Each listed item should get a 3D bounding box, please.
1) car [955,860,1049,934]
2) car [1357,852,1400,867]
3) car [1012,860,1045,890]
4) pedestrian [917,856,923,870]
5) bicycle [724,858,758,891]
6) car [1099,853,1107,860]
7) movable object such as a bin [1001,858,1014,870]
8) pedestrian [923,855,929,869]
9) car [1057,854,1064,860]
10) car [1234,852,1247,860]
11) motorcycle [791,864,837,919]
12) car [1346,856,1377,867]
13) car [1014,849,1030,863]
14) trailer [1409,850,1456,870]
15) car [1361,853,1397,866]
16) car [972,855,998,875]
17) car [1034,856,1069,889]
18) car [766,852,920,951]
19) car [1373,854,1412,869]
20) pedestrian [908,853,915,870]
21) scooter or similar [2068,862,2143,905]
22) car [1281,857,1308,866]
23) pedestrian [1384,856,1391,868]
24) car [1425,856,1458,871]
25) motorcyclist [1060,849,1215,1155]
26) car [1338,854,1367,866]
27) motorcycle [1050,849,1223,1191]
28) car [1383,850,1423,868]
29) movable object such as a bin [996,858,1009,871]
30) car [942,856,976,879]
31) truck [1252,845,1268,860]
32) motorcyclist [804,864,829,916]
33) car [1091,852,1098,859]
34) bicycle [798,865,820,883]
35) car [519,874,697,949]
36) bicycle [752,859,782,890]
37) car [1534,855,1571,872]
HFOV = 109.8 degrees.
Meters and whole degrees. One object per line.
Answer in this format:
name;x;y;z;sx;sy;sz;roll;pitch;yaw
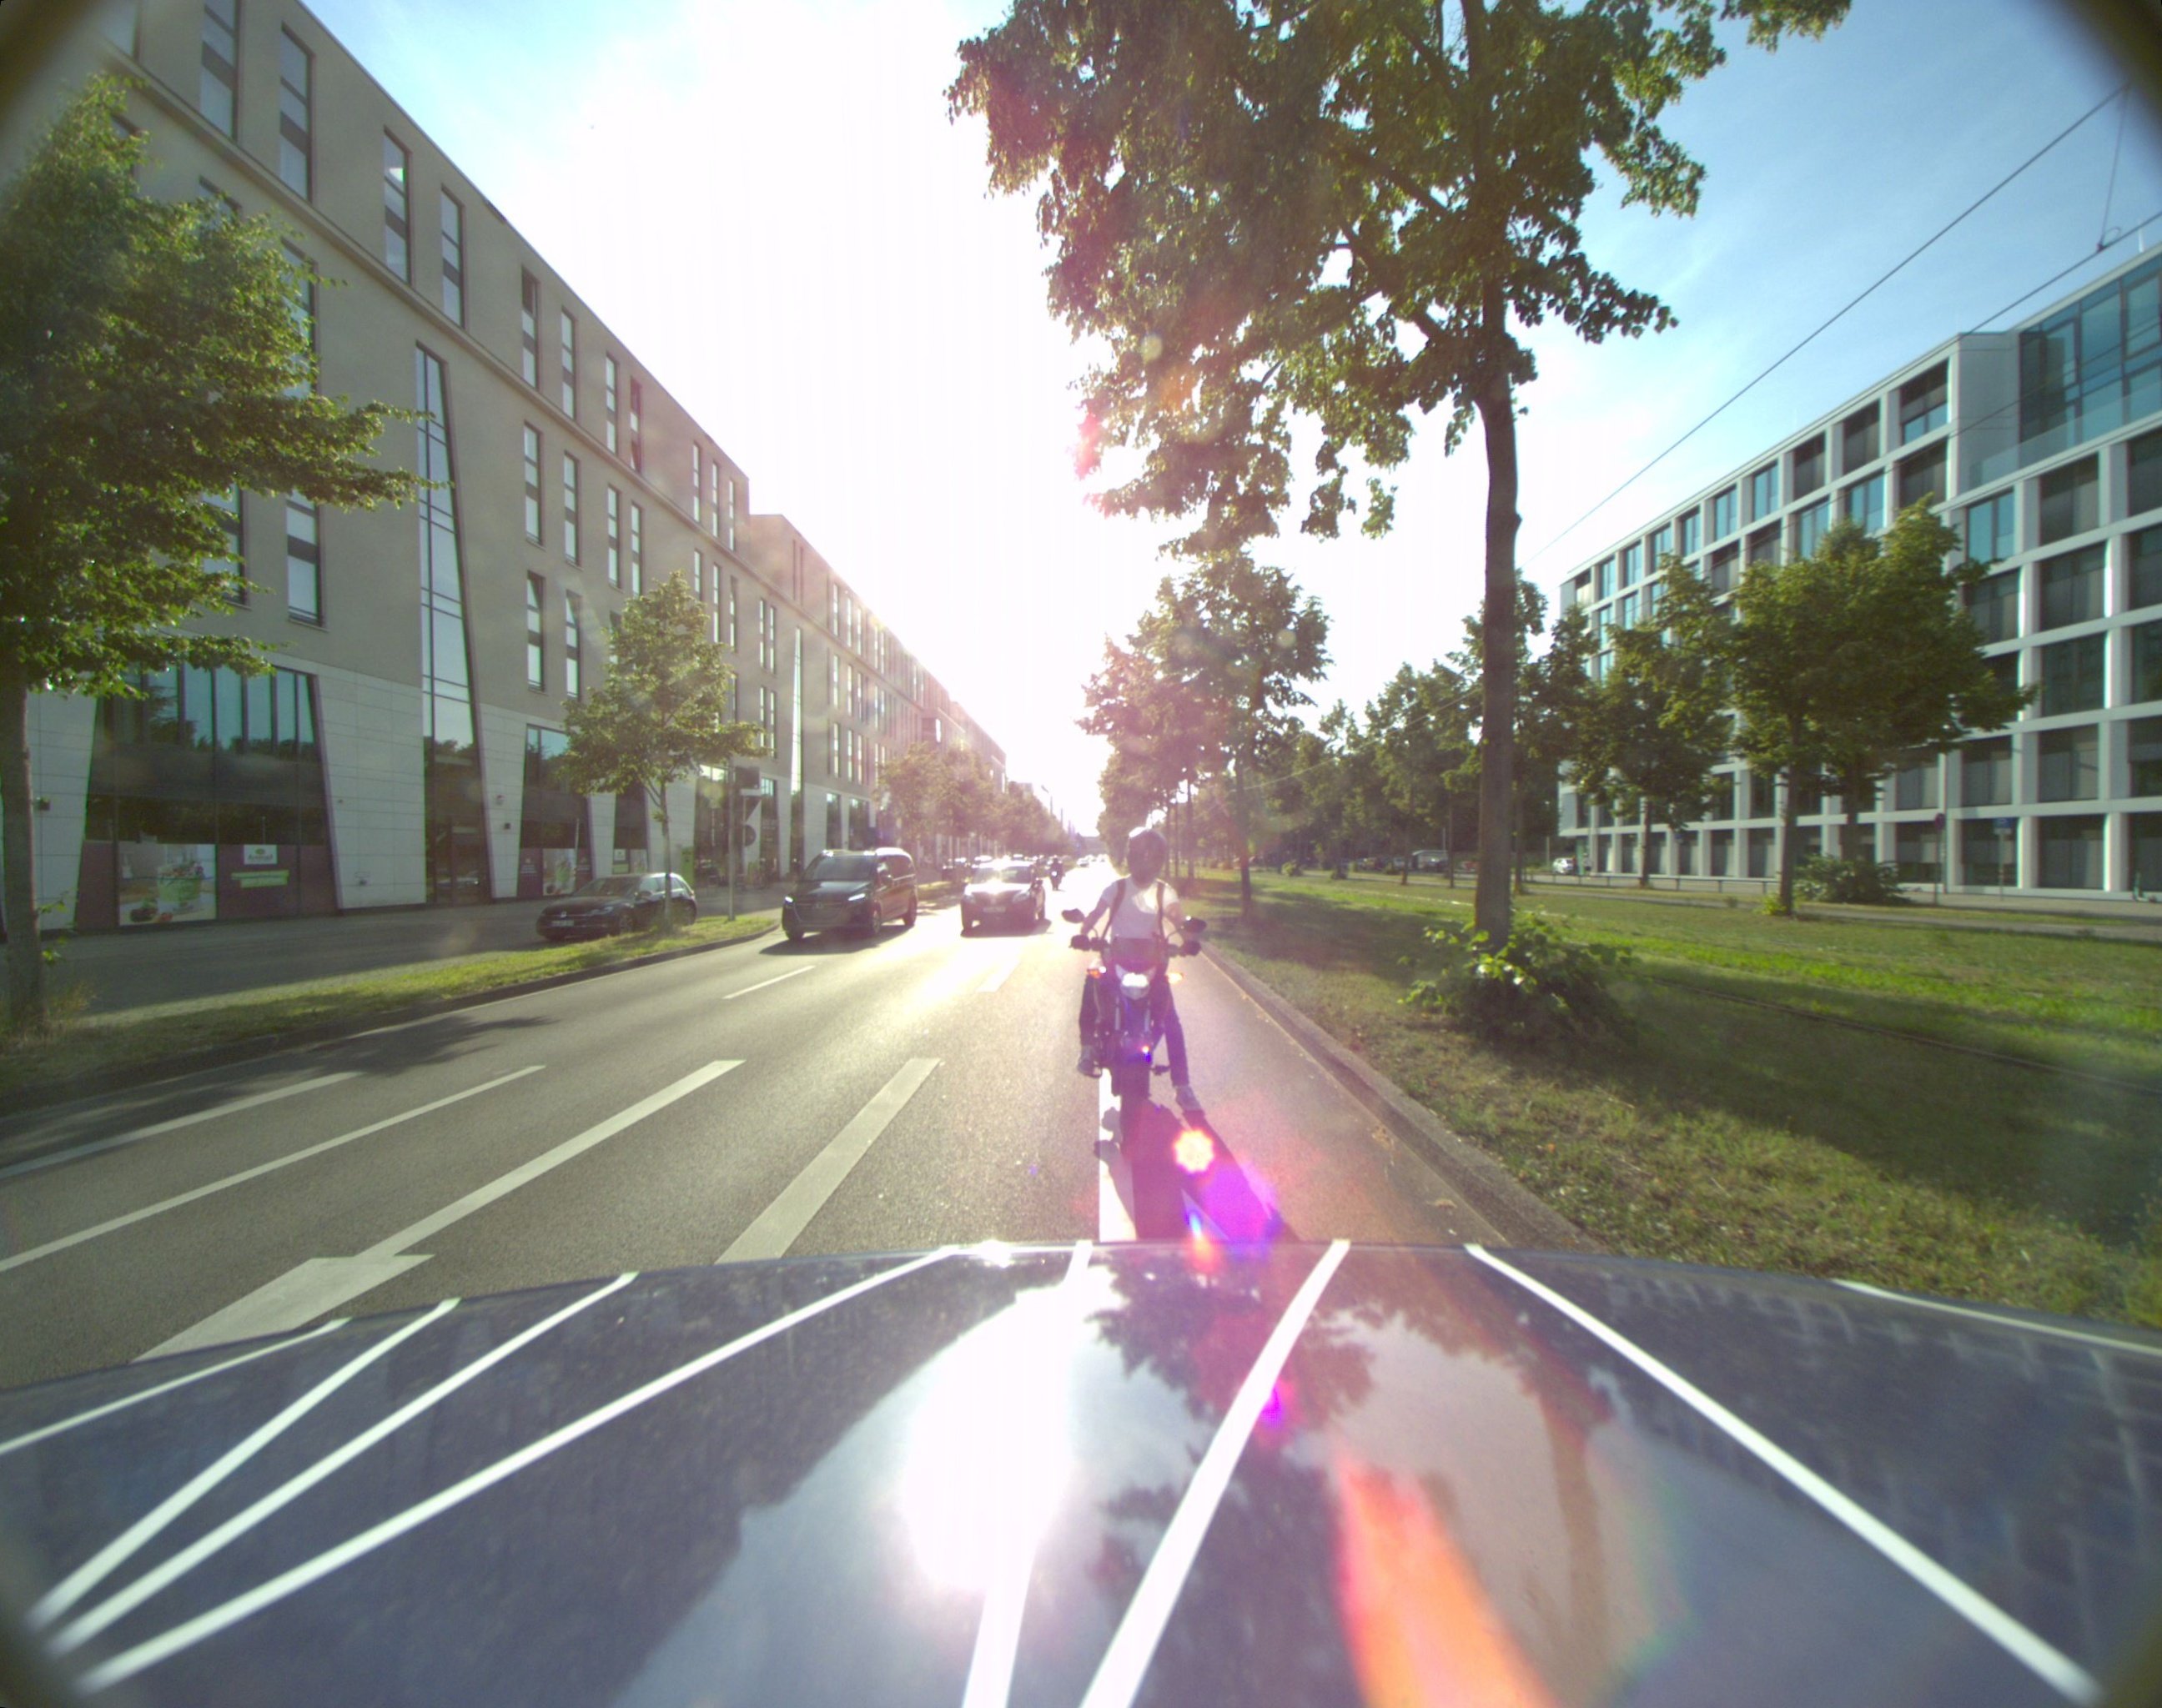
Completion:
car;-1.840;0.976;18.834;1.739;1.499;4.000;-2;1;1
car;40.235;0.742;102.992;5.071;1.725;1.886;-2;1;4
car;-3.418;1.340;49.898;1.777;1.805;4.000;-2;1;1
pedestrian;-18.273;0.986;86.122;0.515;1.513;0.597;-2;1;1
bicycle;-17.424;1.046;38.996;0.557;1.562;2.276;-2;1;2
car;5.749;0.667;196.838;1.998;1.736;4.000;-2;1;1
movable object such as a bin;-8.080;1.095;83.843;1.280;1.229;1.191;-2;1;-1
pedestrian;-17.541;0.948;86.073;0.540;1.565;0.514;-2;1;-13
car;-5.749;0.863;211.971;1.840;1.521;4.328;-2;1;2
car;32.068;0.437;152.482;1.834;1.423;4.475;-2;1;3
motorcycle;-8.475;1.163;24.238;0.703;1.608;2.011;-2;1;0
car;39.037;1.033;105.913;3.655;1.420;1.810;-2;1;4
car;-7.997;0.236;103.766;1.842;1.865;5.030;-2;1;-1
trailer;39.057;0.678;84.521;4.373;2.042;1.758;-2;1;5
car;39.498;0.764;100.670;3.996;1.551;1.856;-2;1;4
car;-9.066;1.037;72.199;1.832;1.702;4.295;-2;1;0
car;-1.540;0.962;40.979;1.644;1.553;3.734;-2;1;1
car;-5.219;0.942;17.429;1.864;1.856;4.778;-2;1;1
car;38.283;0.878;93.430;4.001;1.633;1.758;-2;1;2
pedestrian;-17.167;0.751;76.938;0.538;1.752;0.646;-2;1;2
scooter or similar;36.928;1.045;27.401;1.933;1.468;0.415;-2;1;6
car;33.103;1.170;117.798;1.690;1.427;4.026;-3;1;-31
pedestrian;36.466;0.940;90.420;0.523;1.472;0.568;-2;1;1
car;38.217;0.982;80.617;1.683;1.385;3.761;-2;1;-1
motorcyclist;0.324;0.837;4.703;0.814;1.699;0.843;-2;1;1
car;40.366;0.883;112.992;3.865;1.477;1.745;-2;1;9
motorcycle;0.294;0.821;5.084;0.798;1.659;2.634;-2;1;1
car;38.330;0.626;90.504;4.001;1.936;1.758;-2;1;2
movable object such as a bin;-8.345;1.153;80.969;1.280;1.284;1.178;-2;1;-1
car;-9.567;1.016;59.890;1.902;1.698;4.678;-2;0;0
truck;43.325;-0.428;184.247;2.894;3.496;7.947;-2;1;6
motorcyclist;-8.441;1.143;24.271;0.625;1.631;0.417;0;1;-2
car;4.002;0.471;220.683;1.998;1.736;4.000;-2;1;1
bicycle;-17.067;1.272;47.710;0.635;1.077;1.905;0;0;2
car;-10.978;1.261;18.027;1.611;1.362;4.156;-2;1;-1
bicycle;-17.166;1.106;41.546;0.557;1.558;2.212;-2;1;2
car;47.132;0.928;76.025;1.851;1.586;4.003;-2;1;13
